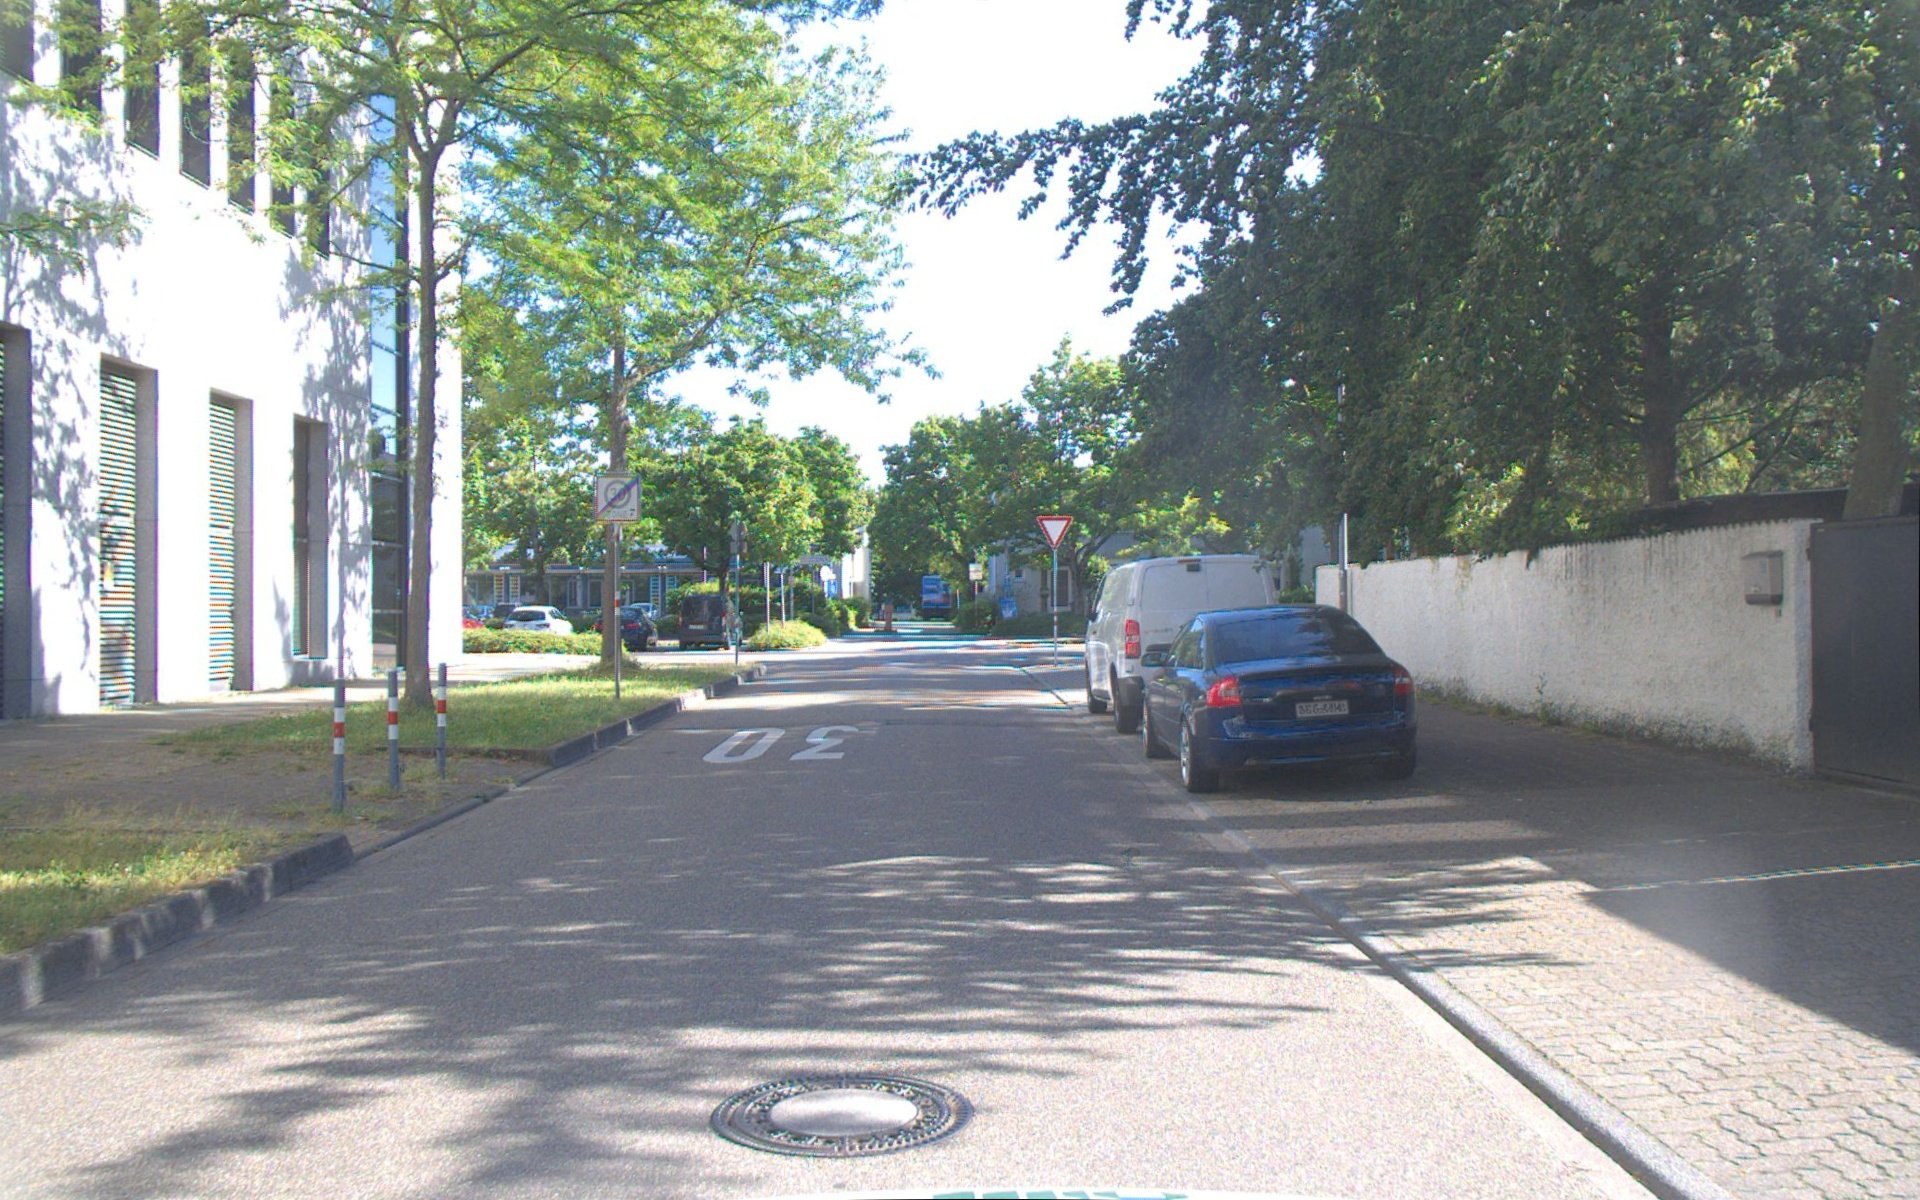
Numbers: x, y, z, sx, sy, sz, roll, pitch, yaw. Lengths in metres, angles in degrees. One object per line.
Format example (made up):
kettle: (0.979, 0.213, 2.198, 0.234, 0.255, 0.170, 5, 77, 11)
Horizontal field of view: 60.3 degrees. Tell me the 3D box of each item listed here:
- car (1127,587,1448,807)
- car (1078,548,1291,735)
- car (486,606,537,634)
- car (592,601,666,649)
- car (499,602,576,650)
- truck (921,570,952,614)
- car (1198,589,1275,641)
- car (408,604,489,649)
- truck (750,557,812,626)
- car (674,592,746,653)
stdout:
car: (2.580, 0.696, 14.079, 1.789, 1.448, 4.283, -4, 0, 0)
car: (2.590, 0.439, 20.288, 1.859, 1.947, 5.148, -1, 0, 0)
car: (-25.811, 1.118, 95.264, 1.798, 1.524, 3.908, -1, 0, 1)
car: (-11.141, 0.820, 55.909, 1.787, 1.430, 4.167, -1, 1, -3)
car: (-14.263, 0.847, 56.023, 1.766, 1.461, 3.910, 0, 1, -3)
truck: (-2.118, -0.712, 150.890, 2.703, 3.937, 9.328, 0, 0, 0)
car: (9.427, 0.492, 56.684, 1.787, 1.625, 4.166, -1, 1, -3)
car: (-17.194, 0.872, 55.735, 1.634, 1.451, 3.910, 0, 0, -3)
truck: (-10.476, -0.483, 97.190, 2.745, 3.873, 6.925, 0, 0, 1)
car: (-8.403, 0.720, 55.961, 1.836, 1.879, 4.168, -1, 1, -1)
